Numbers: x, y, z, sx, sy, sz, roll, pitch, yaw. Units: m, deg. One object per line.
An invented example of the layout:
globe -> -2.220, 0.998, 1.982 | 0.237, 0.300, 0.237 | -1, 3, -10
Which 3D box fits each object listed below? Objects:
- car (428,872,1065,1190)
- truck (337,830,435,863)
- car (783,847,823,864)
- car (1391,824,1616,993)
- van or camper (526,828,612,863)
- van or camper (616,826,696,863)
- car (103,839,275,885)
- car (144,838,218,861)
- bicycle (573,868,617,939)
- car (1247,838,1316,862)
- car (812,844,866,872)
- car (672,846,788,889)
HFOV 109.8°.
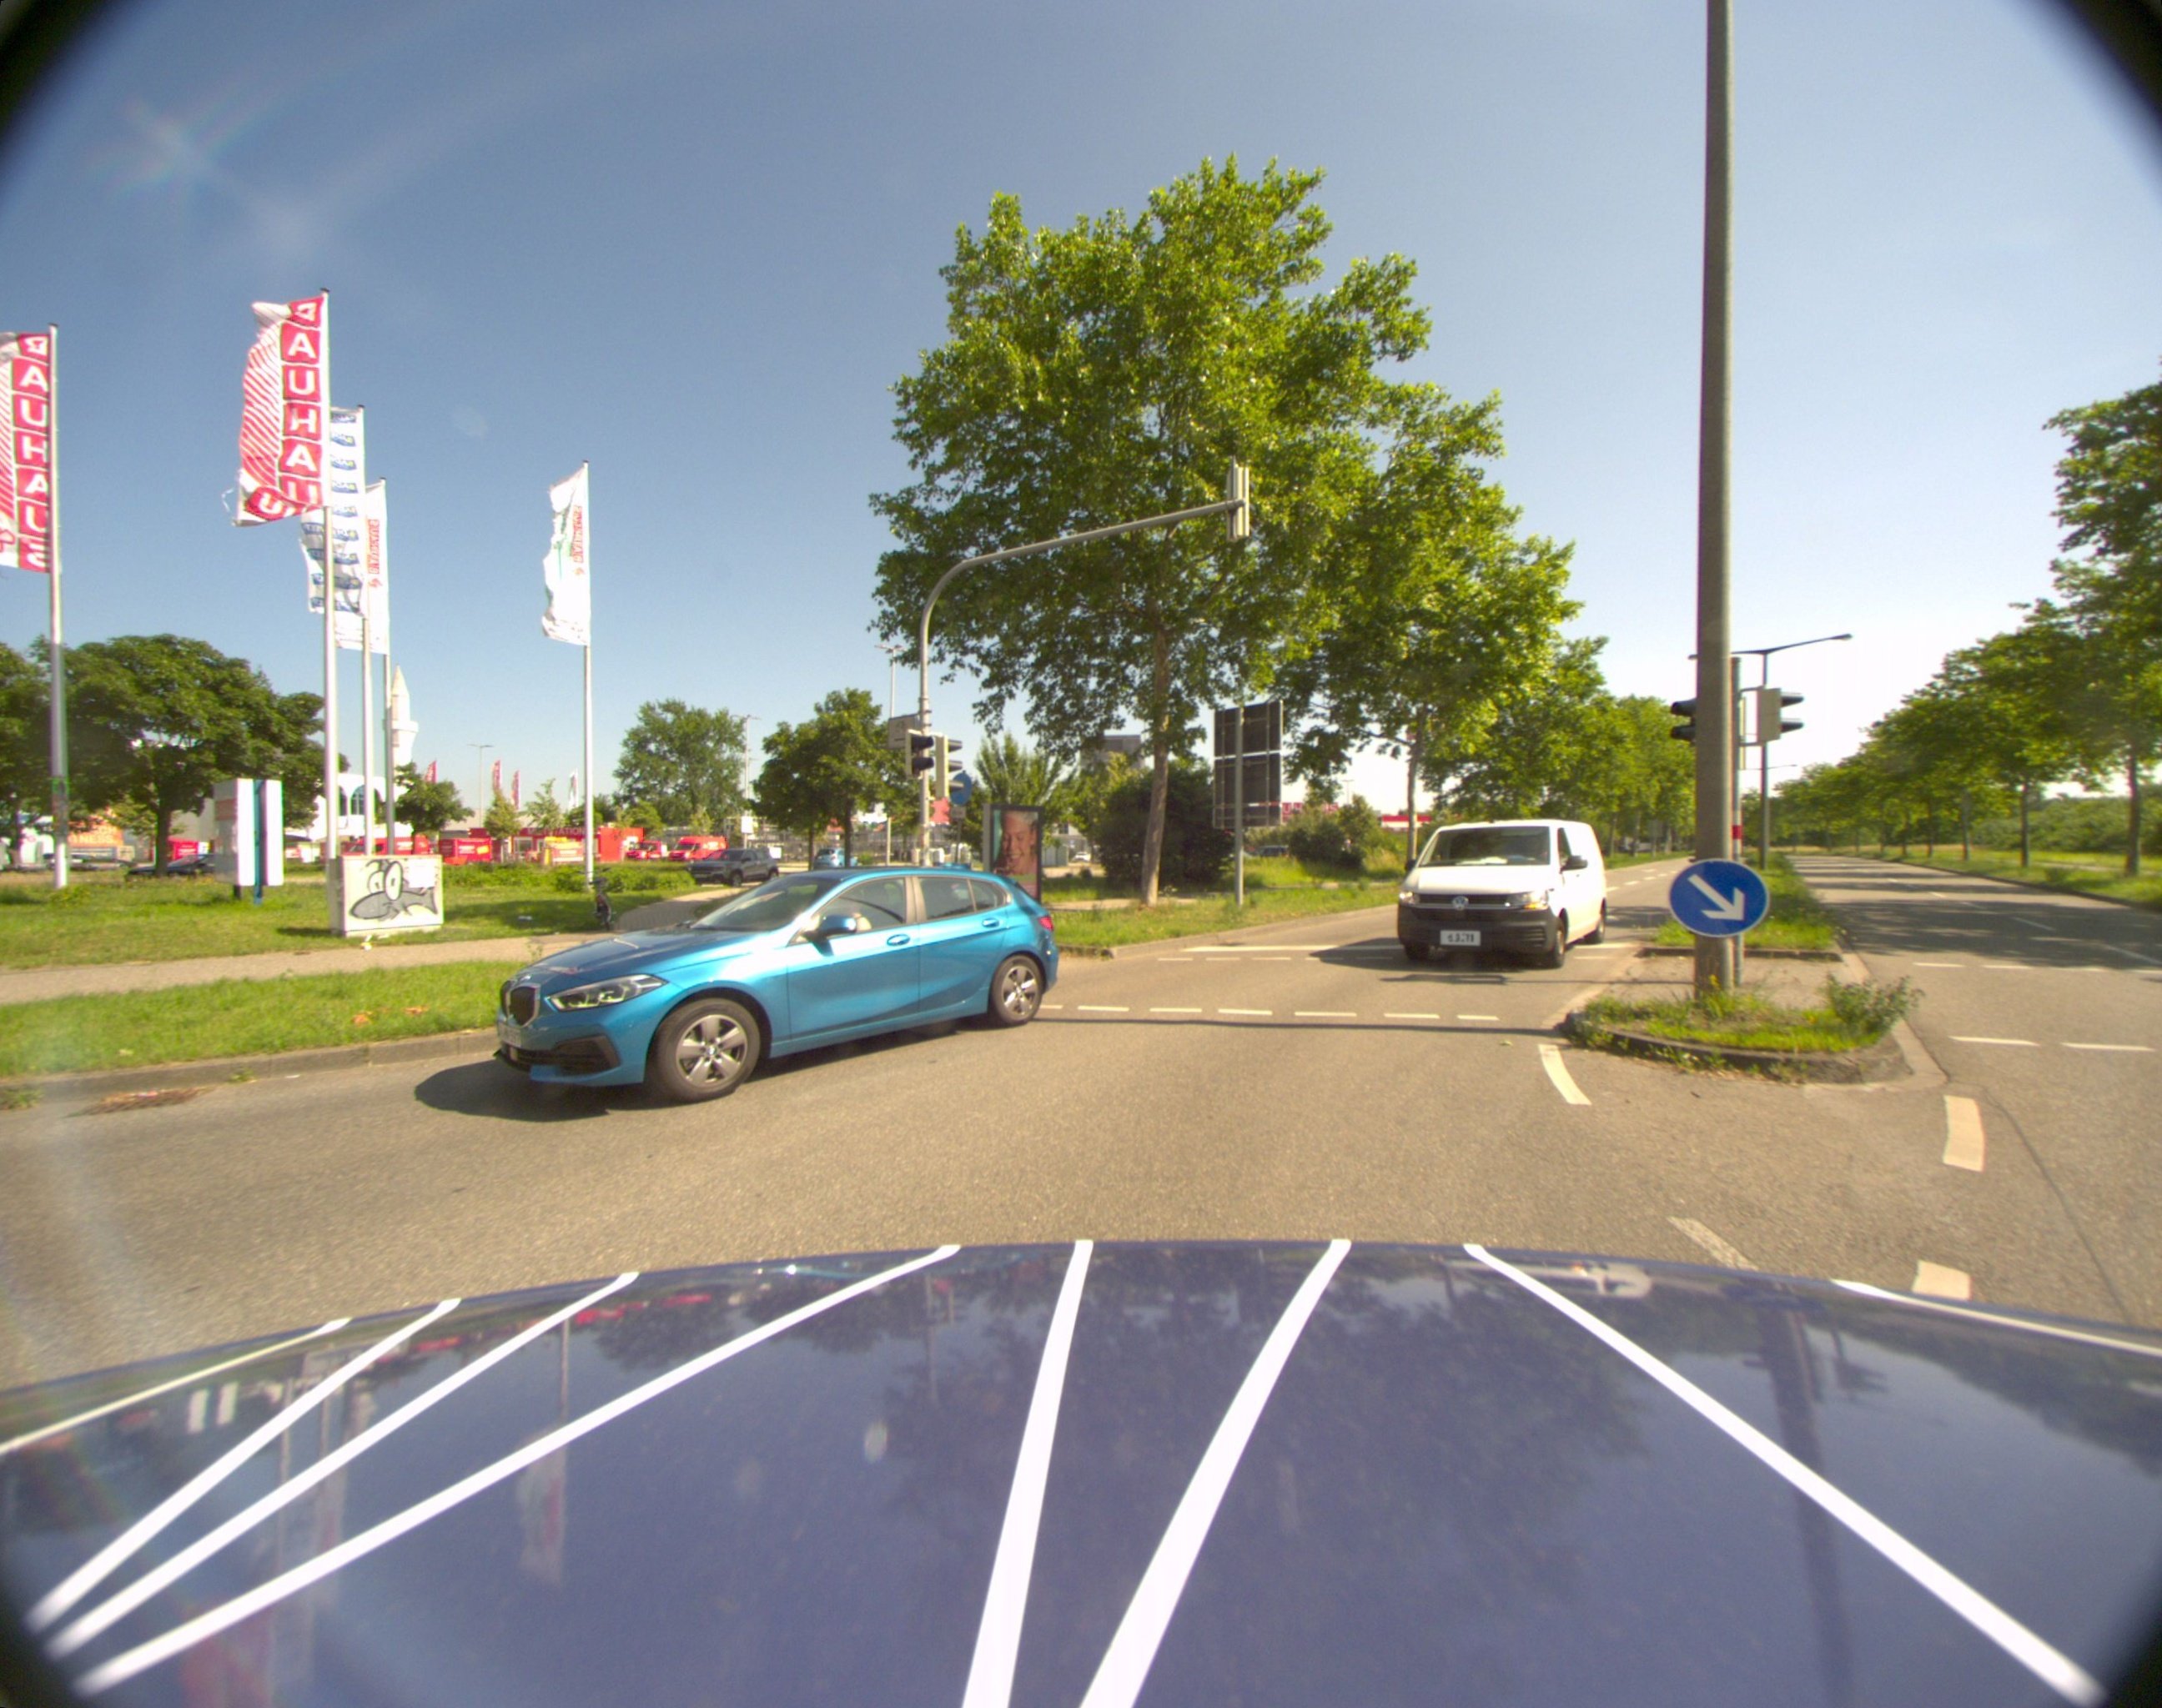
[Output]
car -> -2.216, 0.935, 5.959 | 1.868, 1.412, 4.139 | 0, 1, 41
truck -> -55.889, -0.585, 61.315 | 1.997, 2.398, 5.785 | -2, 0, 8
car -> -27.346, 0.134, 74.946 | 1.786, 1.521, 4.394 | -2, 0, 8
car -> 6.277, 0.568, 10.961 | 1.868, 1.889, 4.891 | 0, 1, 41
van or camper -> -45.941, -0.717, 68.450 | 1.997, 2.924, 7.291 | -2, 0, 7
van or camper -> -36.733, -0.776, 66.012 | 1.997, 2.924, 7.291 | -2, 0, 7
car -> -35.971, 0.290, 30.795 | 1.996, 1.674, 4.005 | -2, 0, 17
car -> -82.902, -0.369, 70.087 | 1.998, 2.002, 4.000 | -2, 0, 1
bicycle -> -8.916, 0.863, 13.986 | 0.497, 1.133, 1.904 | -3, 2, -28
car -> 13.560, -0.263, 51.527 | 2.004, 1.473, 3.989 | -3, 0, -44
car -> -14.367, 0.215, 45.329 | 1.541, 1.523, 3.490 | -2, 0, 10
car -> -12.930, 0.476, 28.273 | 1.903, 1.412, 4.003 | -2, 0, 10
